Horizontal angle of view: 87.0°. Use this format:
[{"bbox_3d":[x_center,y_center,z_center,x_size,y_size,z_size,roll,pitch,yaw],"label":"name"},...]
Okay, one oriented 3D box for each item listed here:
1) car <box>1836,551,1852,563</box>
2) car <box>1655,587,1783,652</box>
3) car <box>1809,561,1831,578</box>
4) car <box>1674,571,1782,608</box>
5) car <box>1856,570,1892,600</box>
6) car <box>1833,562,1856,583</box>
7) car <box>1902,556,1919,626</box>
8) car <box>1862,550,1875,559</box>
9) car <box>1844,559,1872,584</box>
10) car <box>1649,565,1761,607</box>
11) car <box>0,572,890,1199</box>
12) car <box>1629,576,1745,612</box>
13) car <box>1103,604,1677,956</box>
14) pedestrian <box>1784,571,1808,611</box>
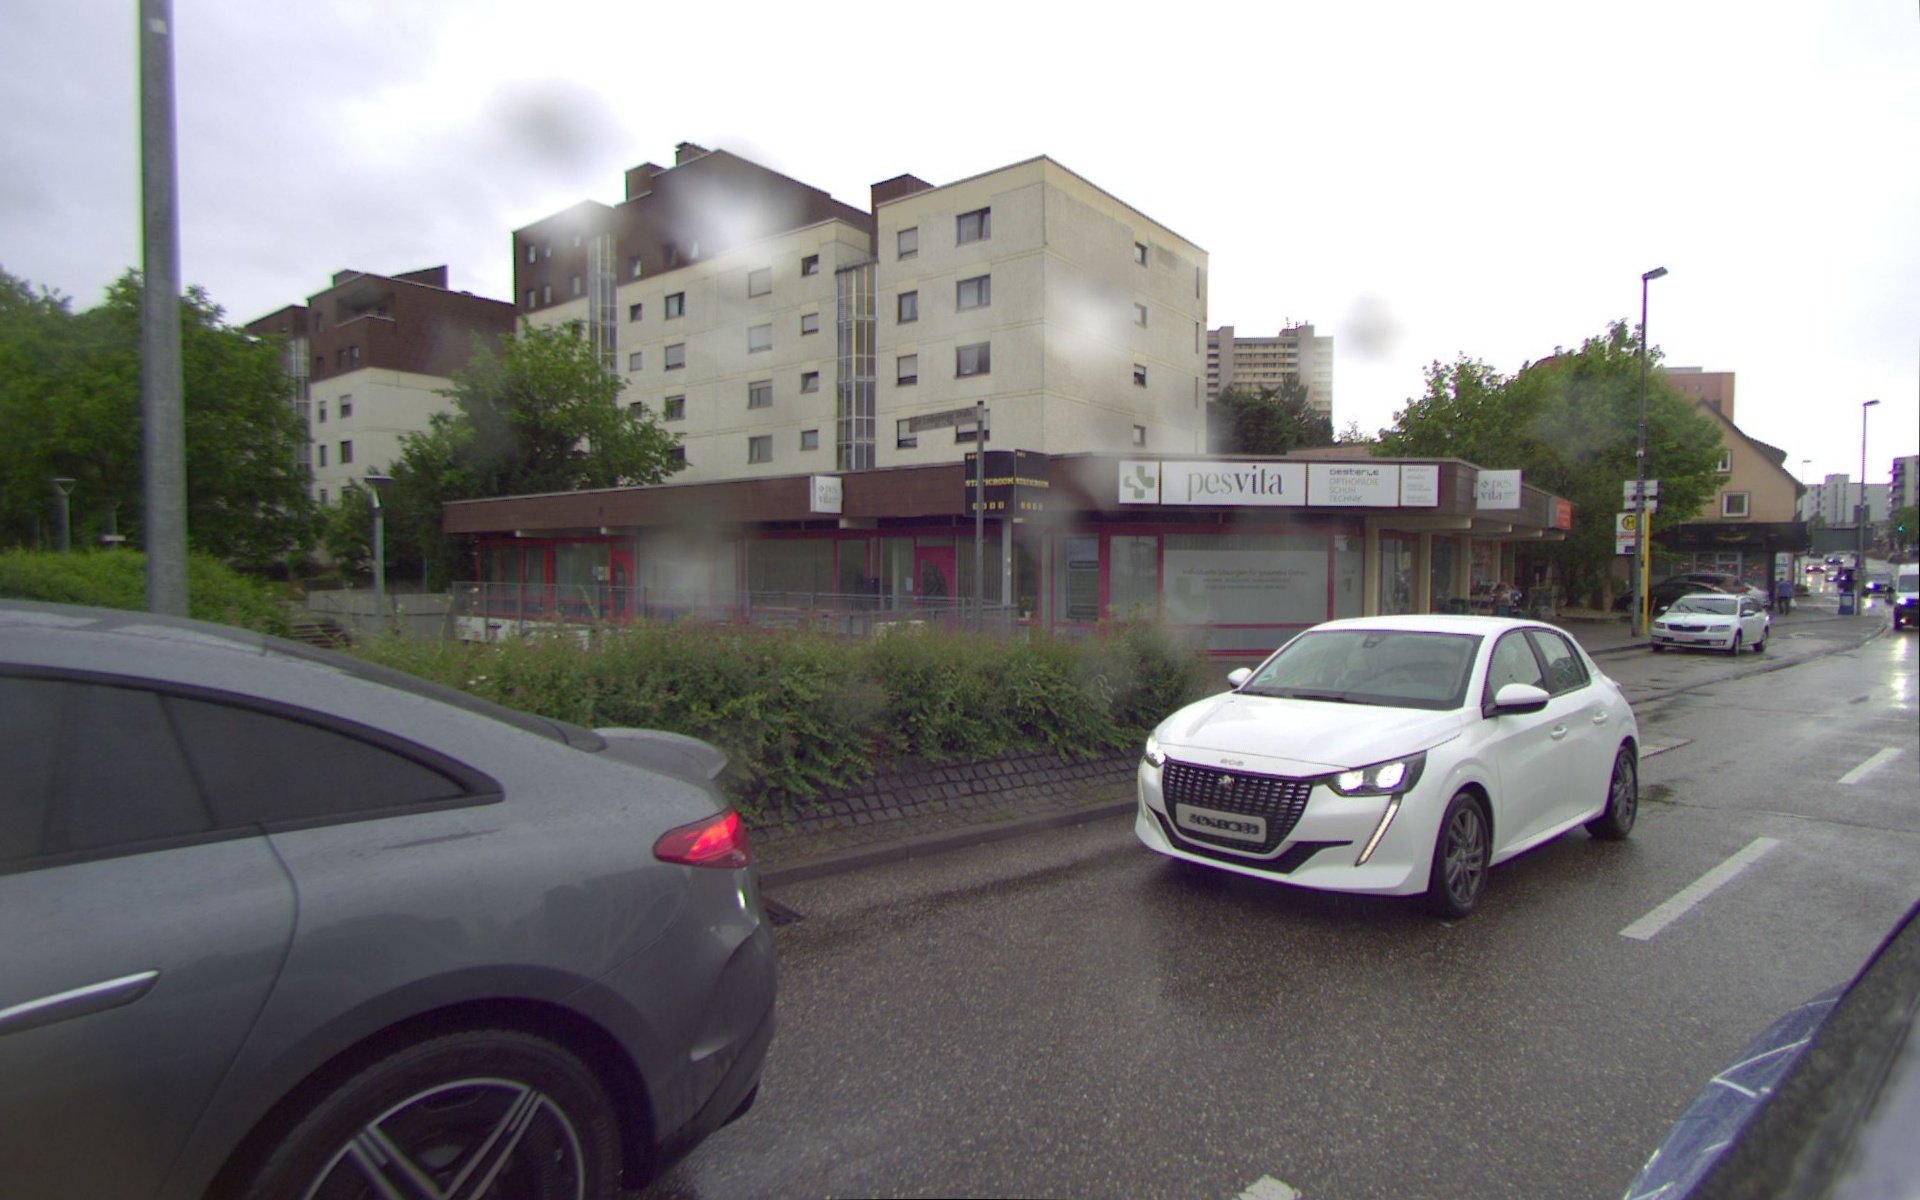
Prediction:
[{"bbox_3d":[139.306,-6.779,159.517,1.657,1.654,3.754,1,1,37],"label":"car"},{"bbox_3d":[19.287,0.436,25.656,3.930,1.509,1.787,0,1,-40],"label":"car"},{"bbox_3d":[109.501,-3.891,128.846,1.992,2.039,3.939,0,1,42],"label":"car"},{"bbox_3d":[36.119,-0.492,47.641,3.981,1.614,1.857,2,0,39],"label":"car"},{"bbox_3d":[63.744,-1.011,70.558,1.716,2.025,3.775,1,1,44],"label":"car"},{"bbox_3d":[89.872,-2.781,102.860,1.714,2.025,3.780,1,1,40],"label":"car"},{"bbox_3d":[37.425,-0.365,38.320,6.021,2.549,2.194,-1,1,-43],"label":"car"},{"bbox_3d":[169.044,-8.474,188.337,1.659,1.654,3.749,1,1,40],"label":"car"},{"bbox_3d":[76.136,-2.376,85.820,1.714,2.025,3.780,1,1,41],"label":"car"},{"bbox_3d":[33.595,-0.658,45.654,3.981,1.801,1.857,2,1,39],"label":"car"},{"bbox_3d":[-2.540,0.699,1.587,4.724,1.485,1.840,1,-1,-41],"label":"car"},{"bbox_3d":[31.447,-0.303,43.810,3.981,1.445,1.857,2,1,39],"label":"car"},{"bbox_3d":[2.849,0.769,6.241,4.043,1.433,1.665,0,1,-41],"label":"car"},{"bbox_3d":[38.102,-0.417,46.128,0.740,1.804,0.749,0,0,-44],"label":"pedestrian"}]
